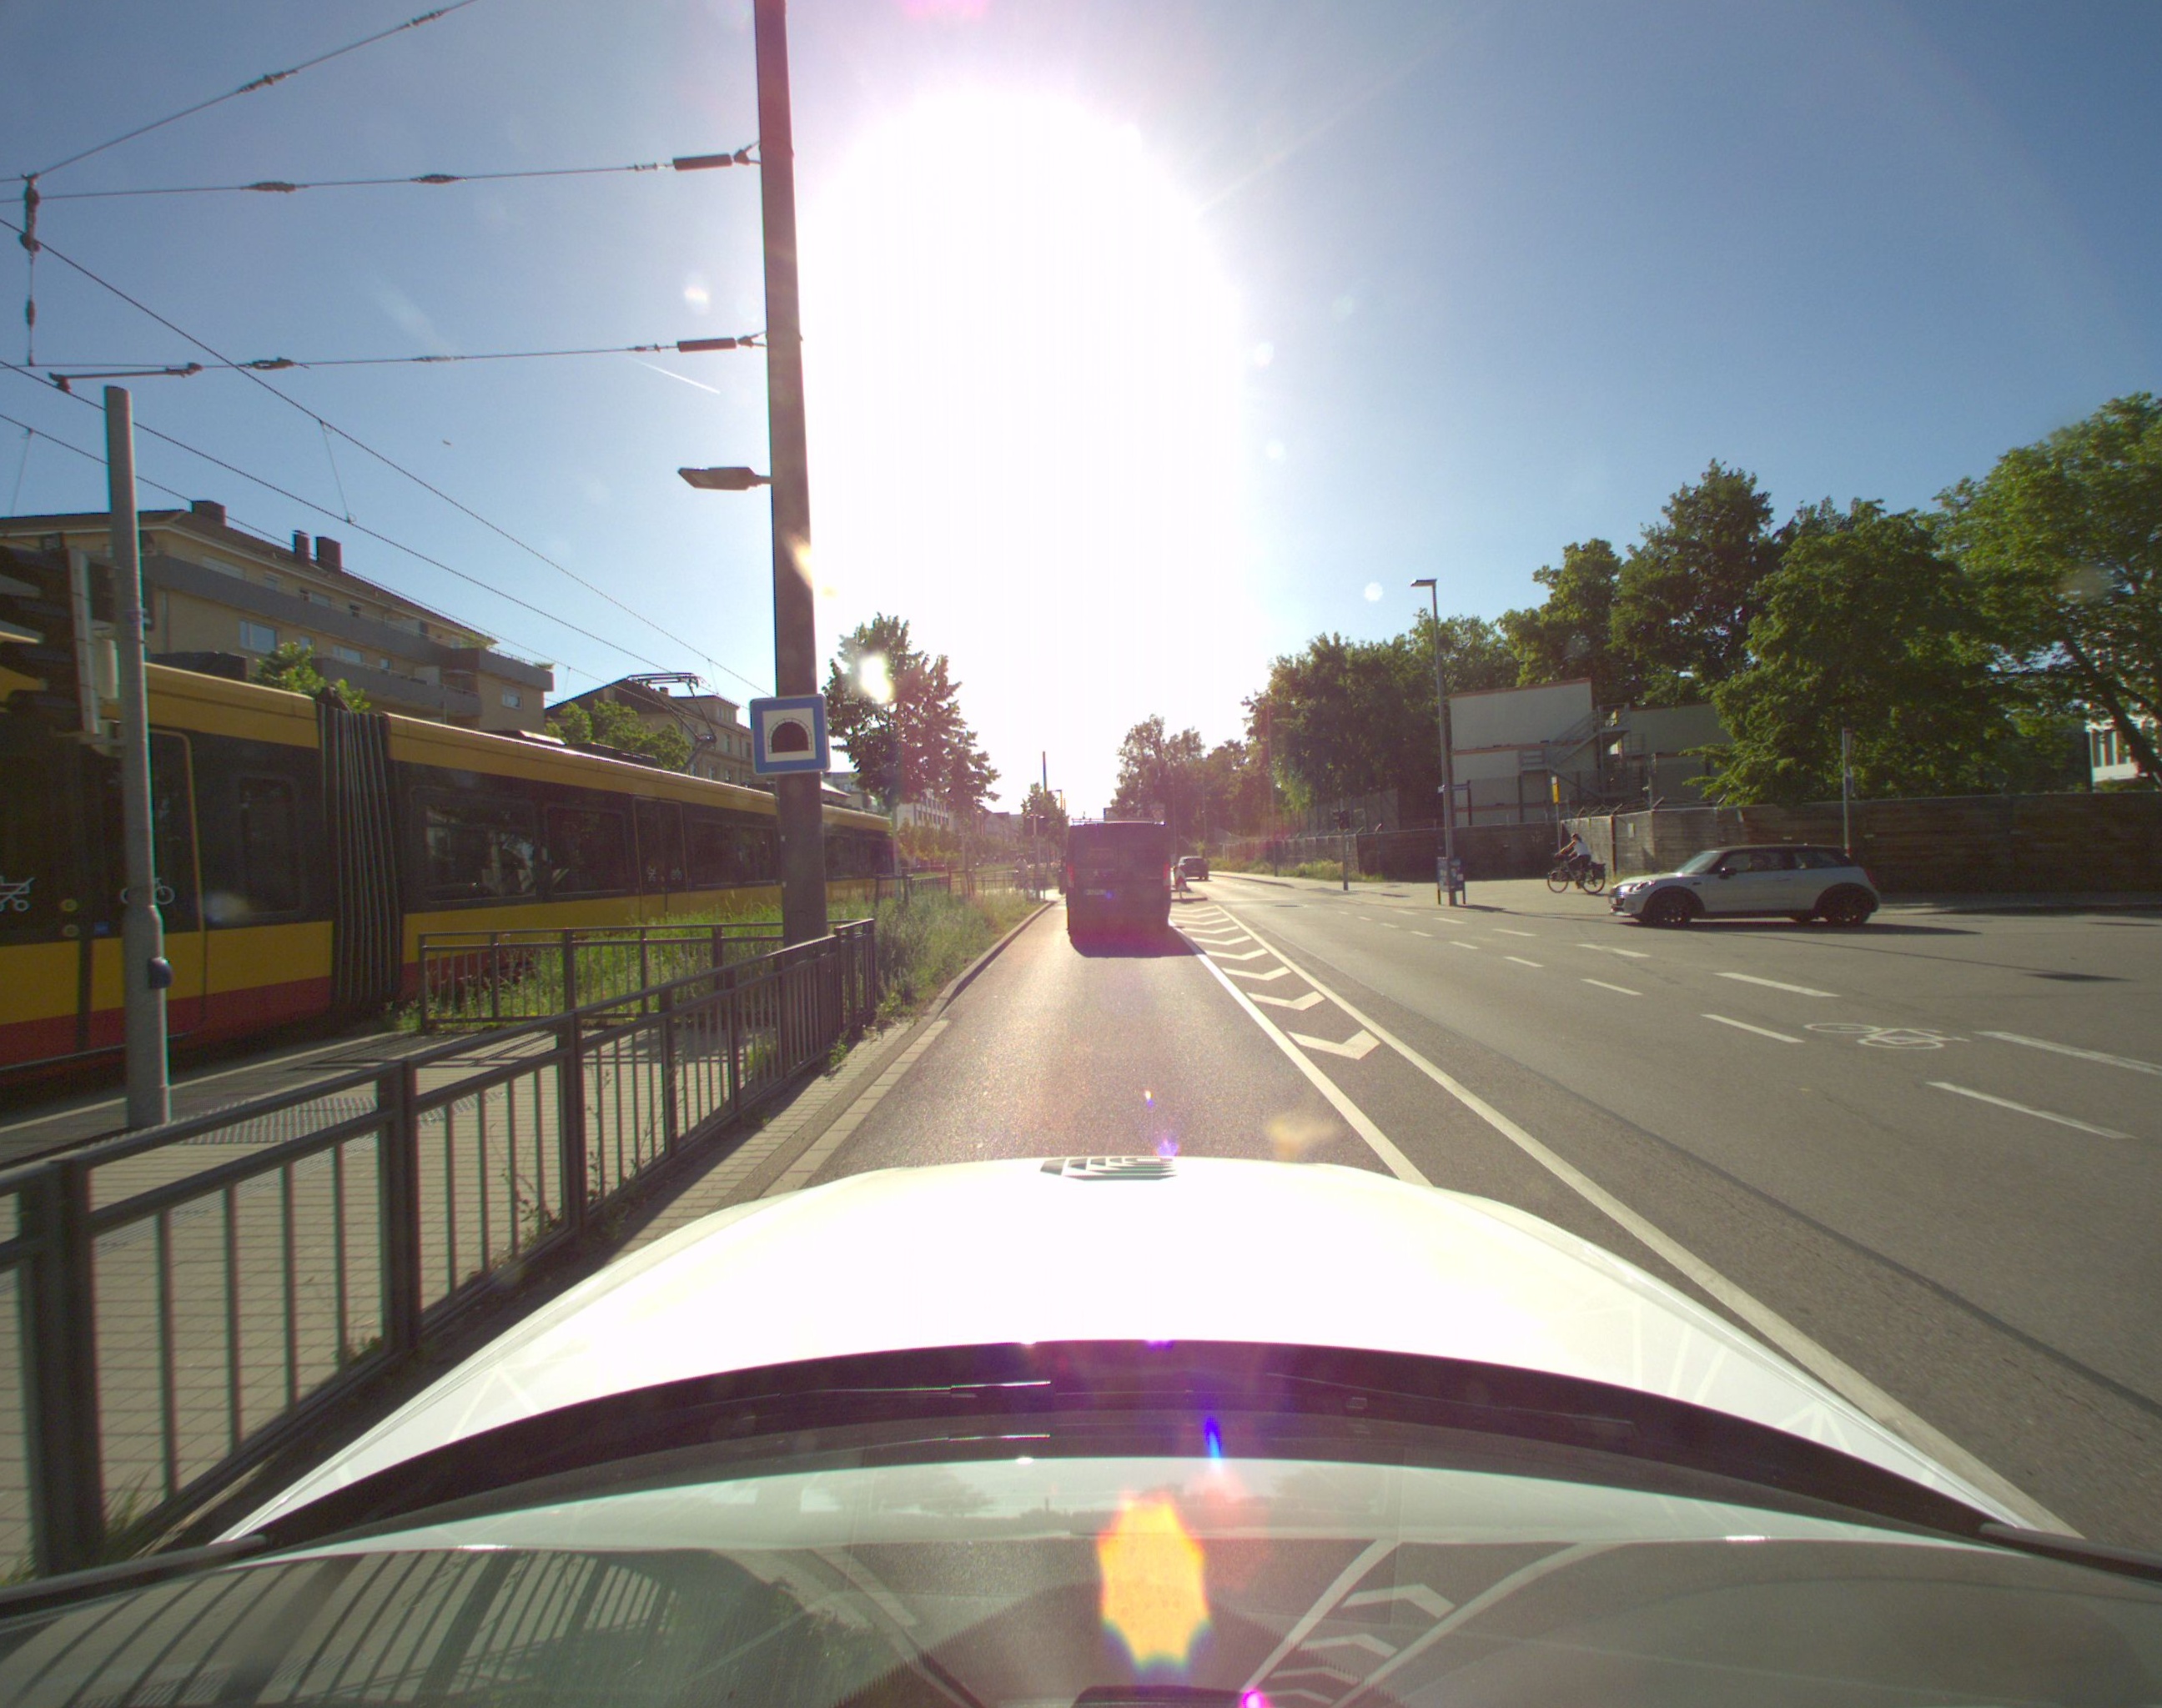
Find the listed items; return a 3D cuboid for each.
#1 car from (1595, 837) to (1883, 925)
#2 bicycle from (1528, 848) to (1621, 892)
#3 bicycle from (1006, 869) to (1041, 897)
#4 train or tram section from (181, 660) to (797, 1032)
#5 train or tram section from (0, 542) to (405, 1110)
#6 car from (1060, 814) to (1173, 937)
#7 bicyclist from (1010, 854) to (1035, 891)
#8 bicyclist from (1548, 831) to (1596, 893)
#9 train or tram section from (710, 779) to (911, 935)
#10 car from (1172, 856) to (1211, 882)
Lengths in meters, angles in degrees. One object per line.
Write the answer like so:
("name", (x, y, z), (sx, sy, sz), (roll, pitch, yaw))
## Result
("car", (11.788, 0.498, 14.891), (3.670, 1.436, 1.780), (-2, -1, 17))
("bicycle", (13.826, 0.468, 22.862), (0.607, 1.112, 2.101), (-3, -1, -35))
("bicycle", (-2.429, 1.203, 33.966), (0.736, 1.091, 2.065), (-1, -1, -25))
("train or tram section", (-7.912, -0.029, 13.807), (1.987, 3.669, 11.316), (-2, -1, 1))
("train or tram section", (-8.004, -0.211, 1.270), (1.987, 3.669, 14.150), (-2, -1, 0))
("car", (0.691, 0.423, 17.295), (2.075, 2.249, 4.000), (-2, -1, 0))
("bicyclist", (-2.440, 0.774, 33.920), (0.830, 1.512, 0.724), (-1, -1, -25))
("bicyclist", (13.770, 0.221, 22.861), (0.747, 1.673, 0.843), (-3, -1, -36))
("train or tram section", (-7.693, 0.128, 25.277), (1.986, 3.669, 11.686), (-2, -1, 1))
("car", (6.630, 0.875, 49.304), (1.758, 1.462, 3.998), (-2, -1, -1))
